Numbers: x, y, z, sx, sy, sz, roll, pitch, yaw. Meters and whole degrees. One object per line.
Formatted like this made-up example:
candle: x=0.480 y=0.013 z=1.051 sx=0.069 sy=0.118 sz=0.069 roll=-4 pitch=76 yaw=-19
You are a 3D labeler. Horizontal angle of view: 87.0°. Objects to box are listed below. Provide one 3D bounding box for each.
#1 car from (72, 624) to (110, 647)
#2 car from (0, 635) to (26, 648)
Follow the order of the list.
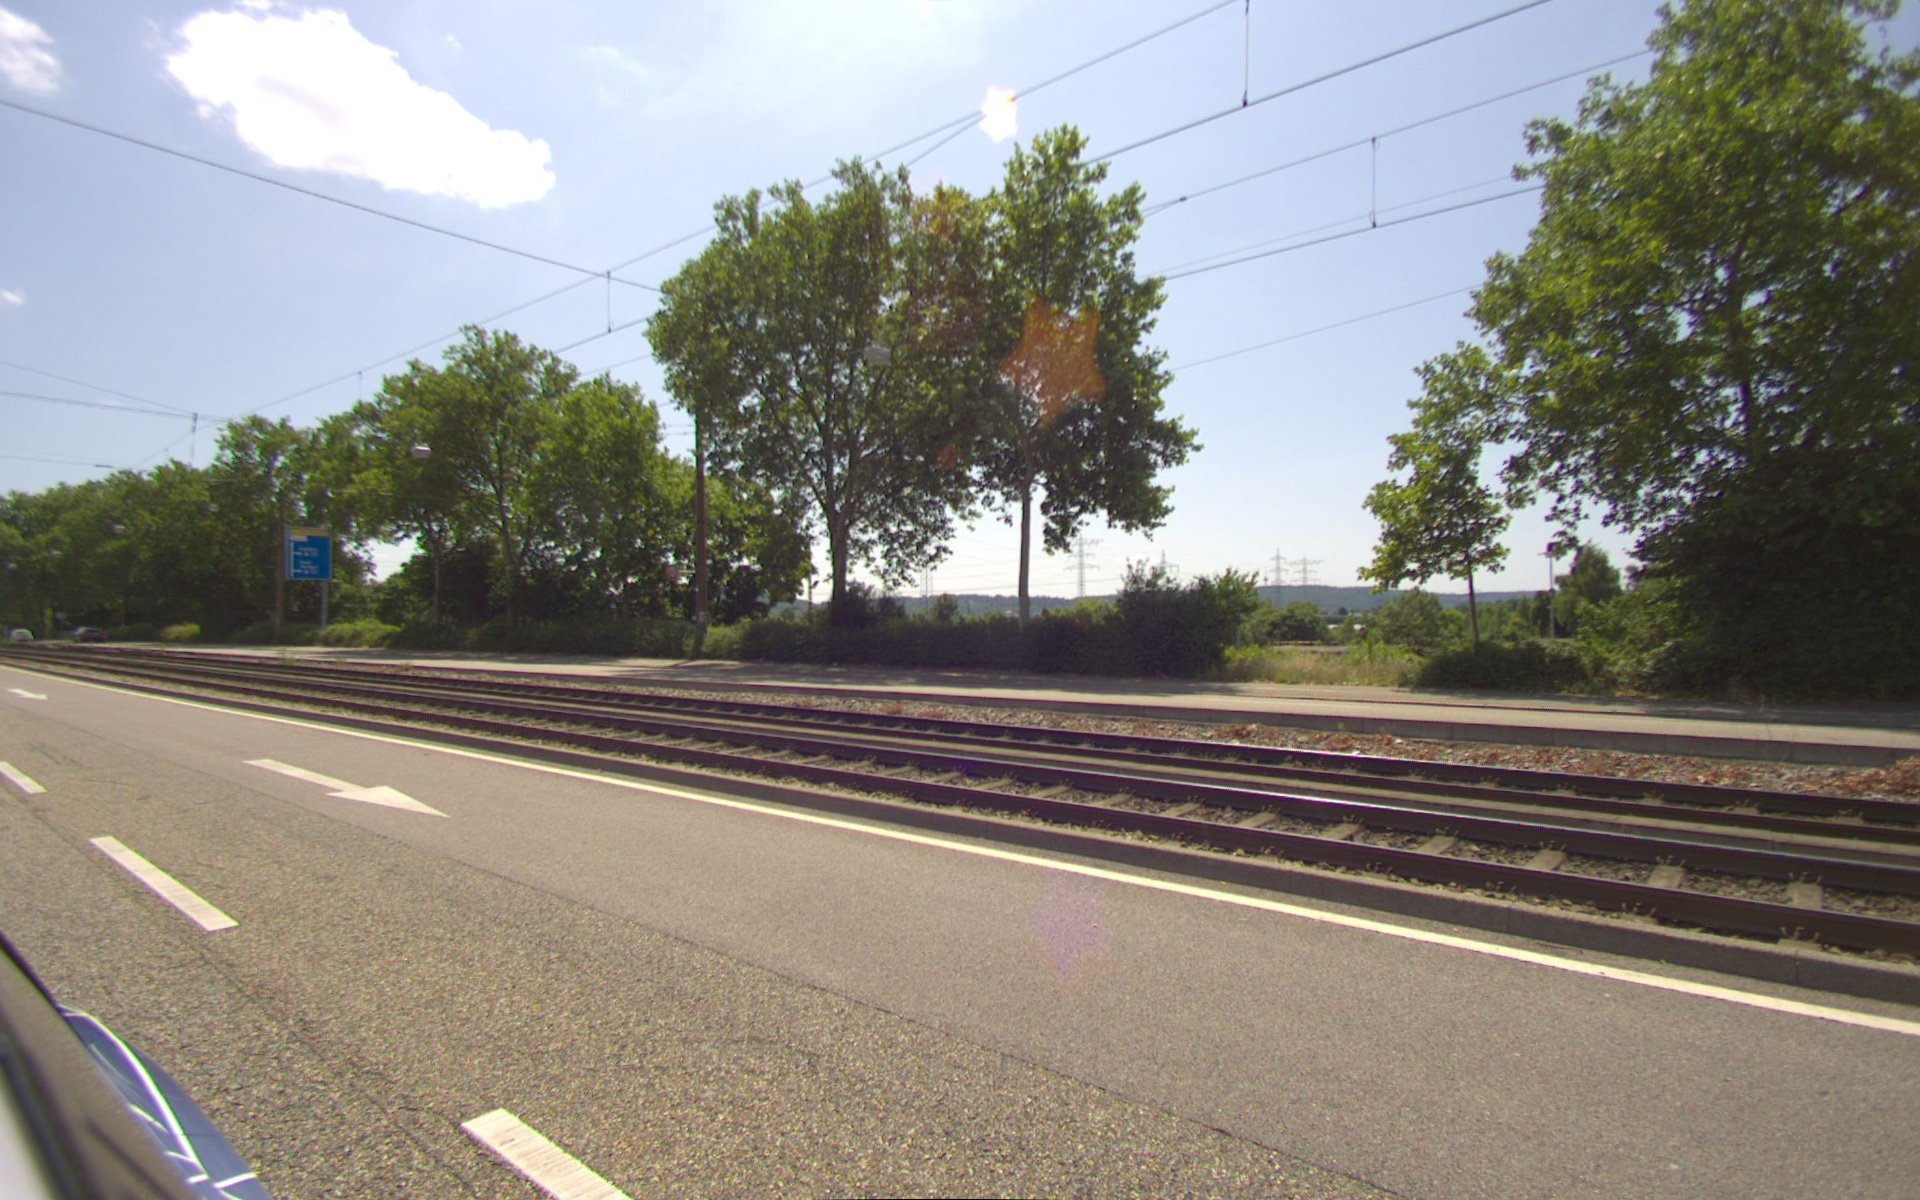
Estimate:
car: x=-75.372 y=3.062 z=87.760 sx=4.409 sy=1.932 sz=1.972 roll=-2 pitch=-1 yaw=42
car: x=-105.734 y=4.668 z=112.933 sx=3.883 sy=1.427 sz=1.802 roll=-2 pitch=-4 yaw=43
